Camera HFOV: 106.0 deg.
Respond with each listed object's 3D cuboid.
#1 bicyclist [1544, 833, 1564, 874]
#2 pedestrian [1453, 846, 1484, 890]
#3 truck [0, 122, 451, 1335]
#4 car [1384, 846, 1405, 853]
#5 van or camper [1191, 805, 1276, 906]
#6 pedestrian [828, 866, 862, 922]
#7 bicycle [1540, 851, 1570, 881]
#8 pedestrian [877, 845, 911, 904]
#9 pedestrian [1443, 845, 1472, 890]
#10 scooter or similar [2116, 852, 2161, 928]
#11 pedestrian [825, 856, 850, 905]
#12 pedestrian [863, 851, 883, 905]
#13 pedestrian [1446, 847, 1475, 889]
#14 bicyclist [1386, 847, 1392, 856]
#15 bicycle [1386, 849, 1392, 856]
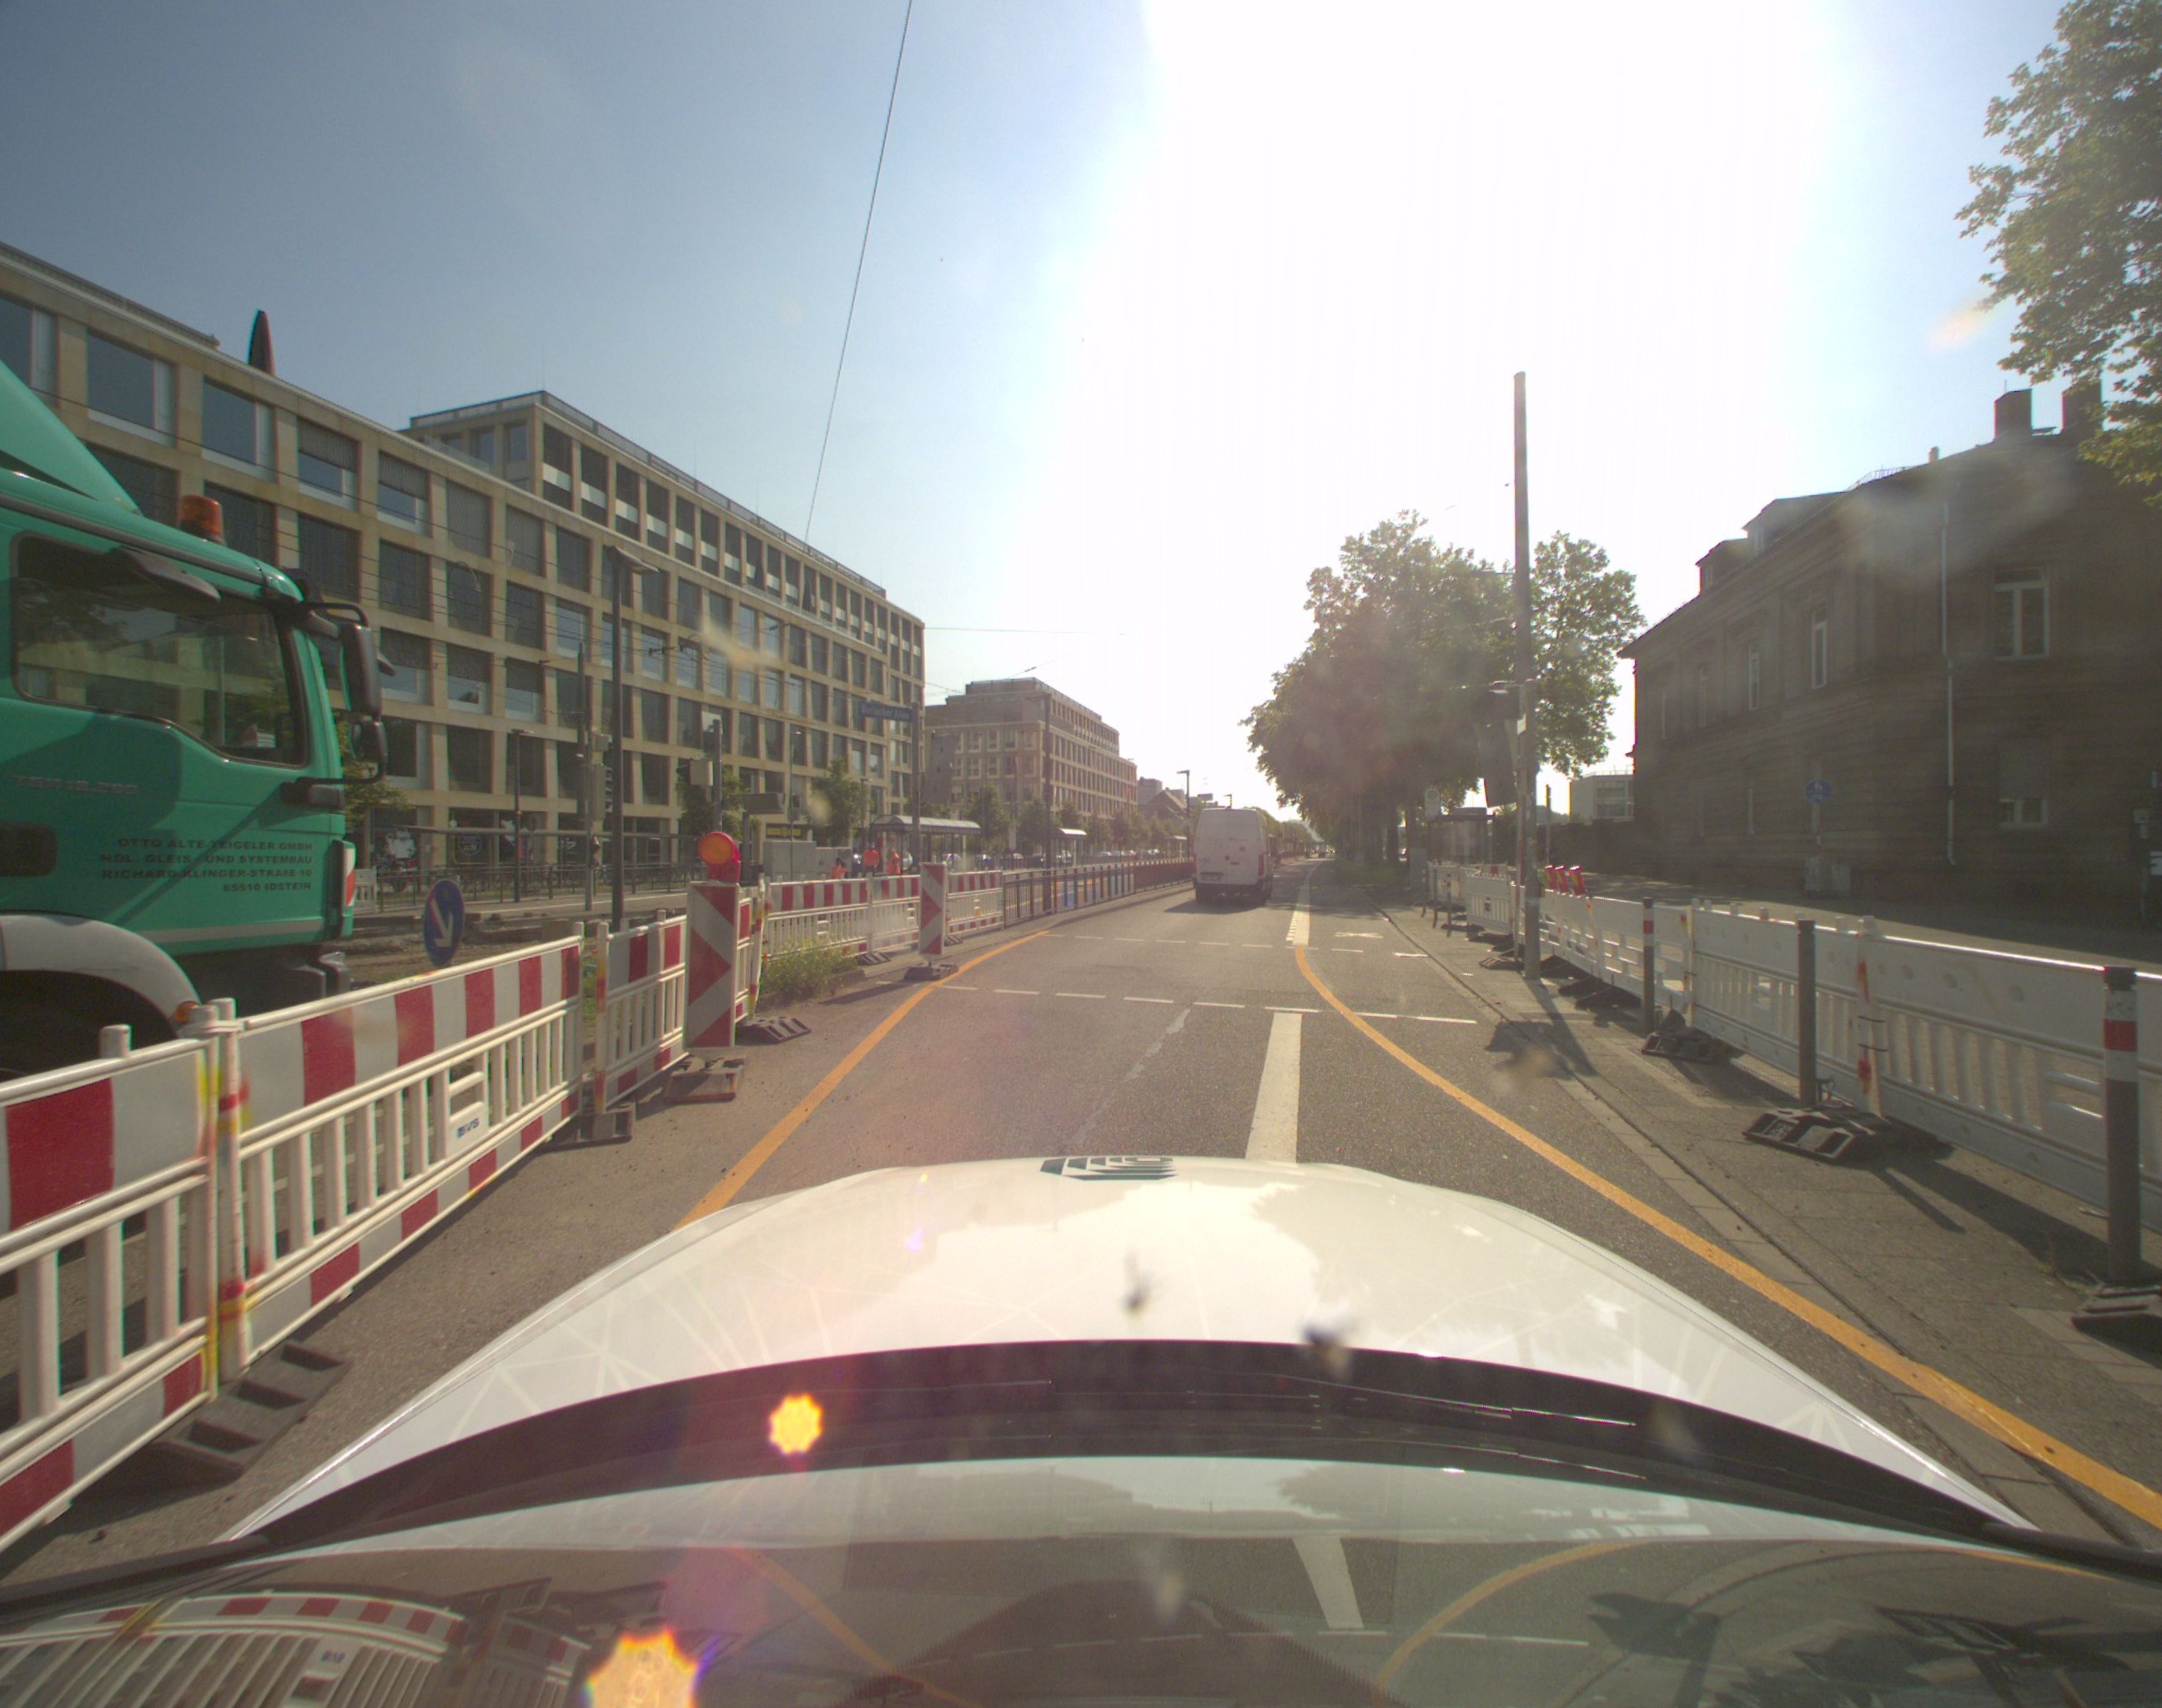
[{"bbox_3d":[18.131,-0.034,31.218,0.465,1.539,0.598,-2,0,14],"label":"bicyclist"},{"bbox_3d":[11.390,0.405,23.963,0.735,1.261,0.614,0,-1,17],"label":"pedestrian"},{"bbox_3d":[-5.110,-0.357,0.193,2.779,3.912,8.431,0,1,5],"label":"truck"},{"bbox_3d":[64.167,-0.919,166.880,3.956,1.376,2.009,0,0,17],"label":"car"},{"bbox_3d":[4.677,0.013,24.344,2.100,2.682,5.271,0,1,15],"label":"van or camper"},{"bbox_3d":[-7.334,1.224,25.305,0.776,1.663,0.661,-2,0,-40],"label":"pedestrian"},{"bbox_3d":[18.123,0.437,31.163,0.487,1.089,1.865,-1,0,14],"label":"bicycle"},{"bbox_3d":[-6.420,0.694,27.955,0.716,1.950,0.793,-2,0,32],"label":"pedestrian"},{"bbox_3d":[11.723,0.412,25.393,0.744,1.366,0.614,0,-1,17],"label":"pedestrian"},{"bbox_3d":[18.169,0.597,13.704,0.421,1.228,1.180,-2,0,24],"label":"scooter or similar"},{"bbox_3d":[-8.032,0.862,26.895,0.639,1.554,0.624,-2,0,-9],"label":"pedestrian"},{"bbox_3d":[-7.189,0.810,28.148,0.625,1.815,0.638,-2,0,-15],"label":"pedestrian"},{"bbox_3d":[11.527,0.409,24.752,0.735,1.261,0.614,0,-1,17],"label":"pedestrian"},{"bbox_3d":[46.003,-0.334,121.580,0.664,1.276,0.731,-2,0,16],"label":"bicyclist"},{"bbox_3d":[45.932,-0.199,121.550,0.676,1.005,2.227,-2,0,16],"label":"bicycle"}]
